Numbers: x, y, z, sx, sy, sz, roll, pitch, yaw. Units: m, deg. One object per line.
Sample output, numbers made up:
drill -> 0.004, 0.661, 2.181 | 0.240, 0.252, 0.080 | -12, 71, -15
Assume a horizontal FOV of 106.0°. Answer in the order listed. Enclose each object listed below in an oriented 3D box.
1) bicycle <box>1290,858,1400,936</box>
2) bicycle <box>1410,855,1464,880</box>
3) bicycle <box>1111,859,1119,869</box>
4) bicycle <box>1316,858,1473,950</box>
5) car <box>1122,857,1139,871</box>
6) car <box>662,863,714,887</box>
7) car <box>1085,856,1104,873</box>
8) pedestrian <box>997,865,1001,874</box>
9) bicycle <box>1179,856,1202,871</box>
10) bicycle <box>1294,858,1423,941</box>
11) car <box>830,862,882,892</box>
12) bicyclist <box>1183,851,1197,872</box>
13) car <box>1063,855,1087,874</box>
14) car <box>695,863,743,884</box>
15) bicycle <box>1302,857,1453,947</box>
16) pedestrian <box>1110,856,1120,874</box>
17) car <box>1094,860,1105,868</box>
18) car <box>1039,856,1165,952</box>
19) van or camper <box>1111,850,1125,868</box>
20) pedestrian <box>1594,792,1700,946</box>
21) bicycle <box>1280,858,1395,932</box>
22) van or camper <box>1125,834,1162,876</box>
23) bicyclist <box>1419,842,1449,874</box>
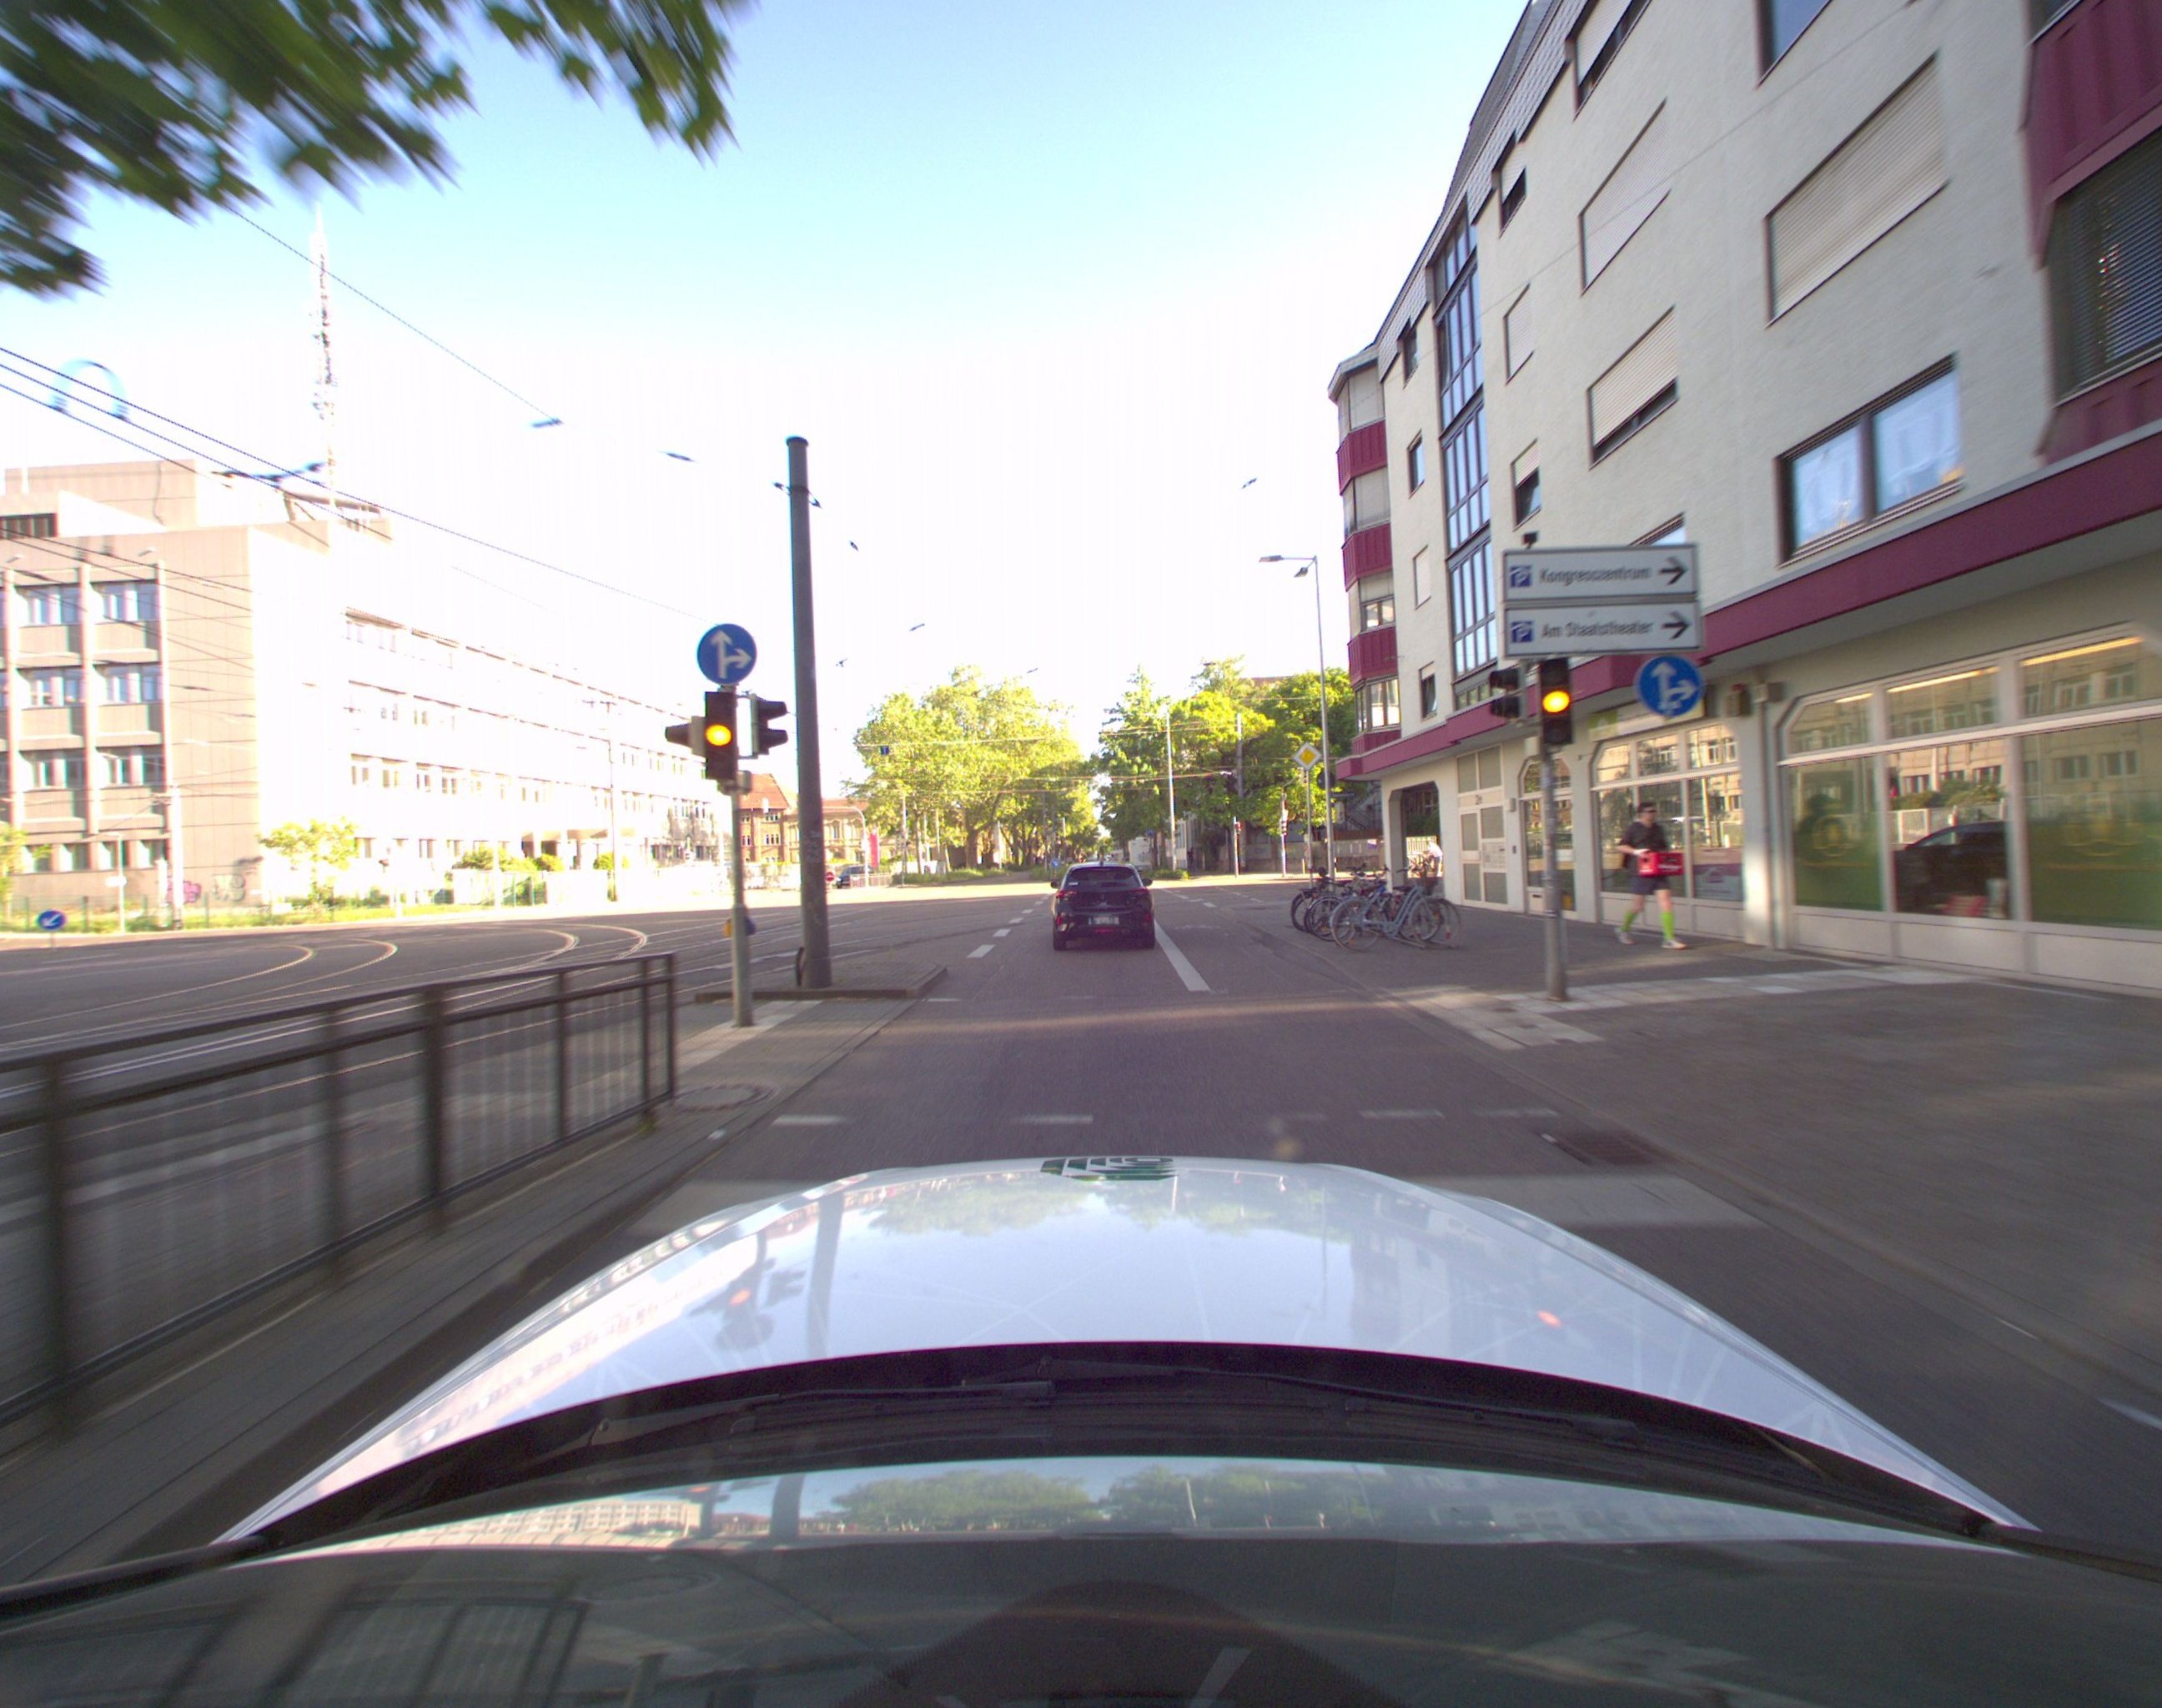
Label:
bicycle -> 4.346, 0.705, 13.472 | 1.614, 1.199, 0.497 | -3, -1, 6
bicycle -> 17.419, 0.675, 39.895 | 2.323, 1.119, 0.843 | -2, 0, -10
bicycle -> 3.827, 1.115, 91.433 | 0.711, 1.170, 1.945 | -2, -1, -1
bicycle -> 4.362, 0.685, 11.400 | 1.934, 1.170, 0.572 | -2, -1, -2
car -> 5.778, 1.192, 95.441 | 1.783, 1.510, 3.876 | -4, 0, 2
car -> -35.875, 1.861, 74.426 | 1.983, 2.013, 4.733 | -3, 0, 6
car -> 1.280, 1.000, 78.511 | 1.826, 1.623, 4.284 | -1, 0, 0
pedestrian -> -15.553, 2.931, 154.063 | 0.656, 1.622, 0.615 | 0, -1, 0
bicycle -> 8.270, 0.734, 61.784 | 0.643, 1.070, 1.932 | -2, 0, -29
bicycle -> 4.372, 0.707, 12.900 | 1.822, 1.221, 0.497 | -2, -1, 5
car -> -16.188, 1.595, 58.830 | 1.982, 1.947, 4.434 | -2, 0, 8
bicyclist -> 8.278, 0.559, 61.759 | 0.753, 1.510, 0.695 | -2, -1, -30
car -> -0.510, 0.935, 72.760 | 1.986, 1.627, 4.471 | 0, 0, 1
car -> -32.917, 1.730, 74.204 | 1.983, 1.703, 4.386 | -3, 0, 6
bicycle -> 4.354, 0.693, 12.021 | 1.972, 1.199, 0.590 | -2, -1, -3
pedestrian -> 3.866, 1.246, 91.791 | 1.032, 2.024, 1.212 | -2, -1, 1
car -> 3.520, 1.851, 155.902 | 1.897, 1.425, 4.218 | -2, 0, 3
car -> 0.428, 0.779, 14.763 | 1.897, 1.425, 4.218 | -2, 0, 3
van or camper -> 6.480, 0.888, 142.153 | 2.476, 2.994, 5.438 | 0, -1, 3
pedestrian -> 7.200, 0.189, 10.400 | 0.720, 1.858, 0.801 | -2, -1, 1
bicycle -> 4.447, 0.715, 14.214 | 1.792, 1.199, 0.546 | -3, -2, 6
van or camper -> 5.162, 0.117, 68.605 | 2.367, 3.125, 7.551 | -5, 0, 1
bicyclist -> 17.299, 0.175, 39.899 | 0.925, 1.509, 1.009 | -2, 0, -9
